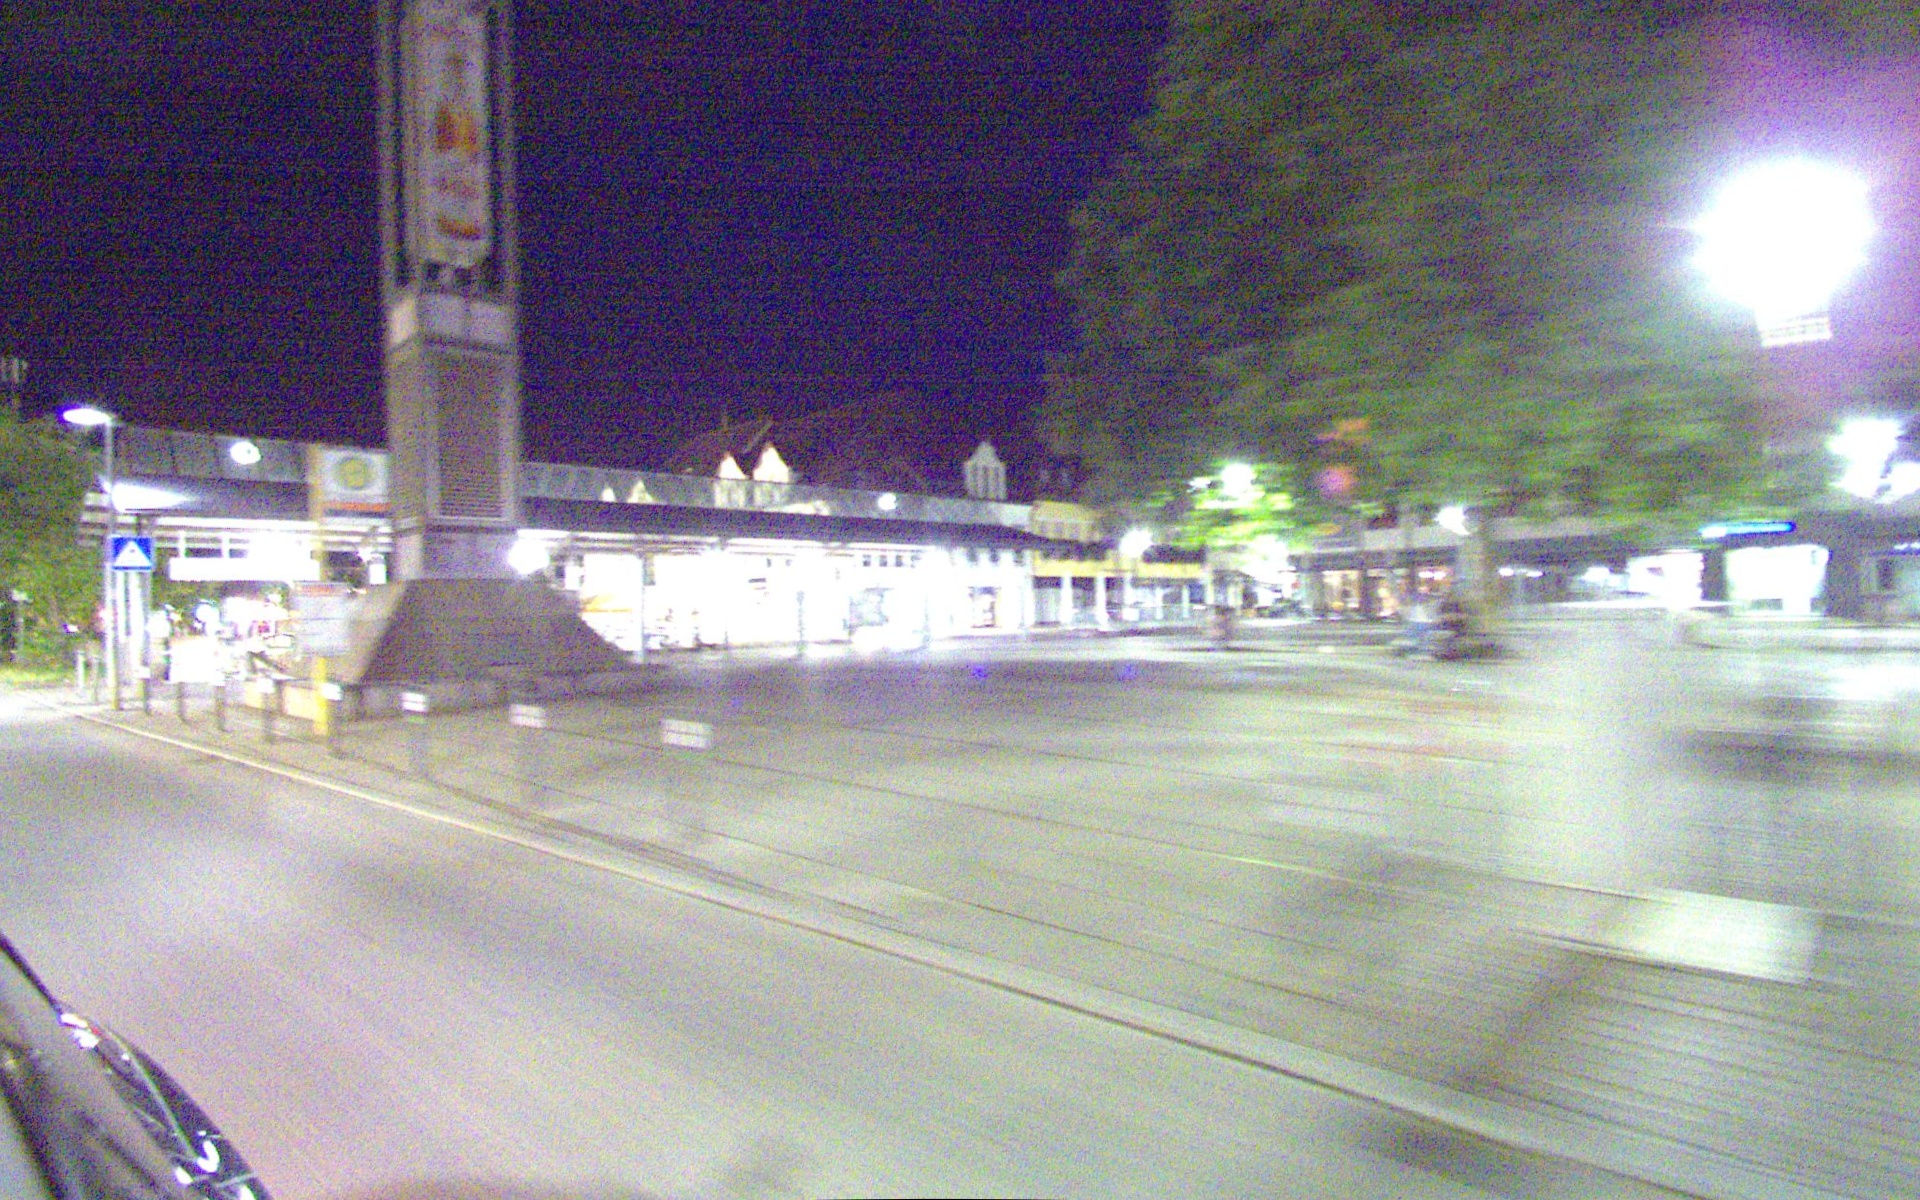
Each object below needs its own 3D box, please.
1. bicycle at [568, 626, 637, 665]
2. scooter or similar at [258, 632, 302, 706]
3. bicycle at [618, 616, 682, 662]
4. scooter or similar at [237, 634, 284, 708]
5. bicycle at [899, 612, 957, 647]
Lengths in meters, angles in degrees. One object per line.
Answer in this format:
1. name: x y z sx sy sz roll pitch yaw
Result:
1. bicycle: -10.840 1.347 30.673 2.481 1.095 0.850 0 -1 40
2. scooter or similar: -12.496 1.256 18.583 1.448 1.298 0.313 -3 -1 42
3. bicycle: -9.696 1.188 31.625 2.412 1.374 0.755 0 -1 40
4. scooter or similar: -12.689 1.271 18.354 1.448 1.273 0.365 -3 -1 43
5. bicycle: -1.302 1.187 41.230 2.509 1.374 0.765 0 -1 40
